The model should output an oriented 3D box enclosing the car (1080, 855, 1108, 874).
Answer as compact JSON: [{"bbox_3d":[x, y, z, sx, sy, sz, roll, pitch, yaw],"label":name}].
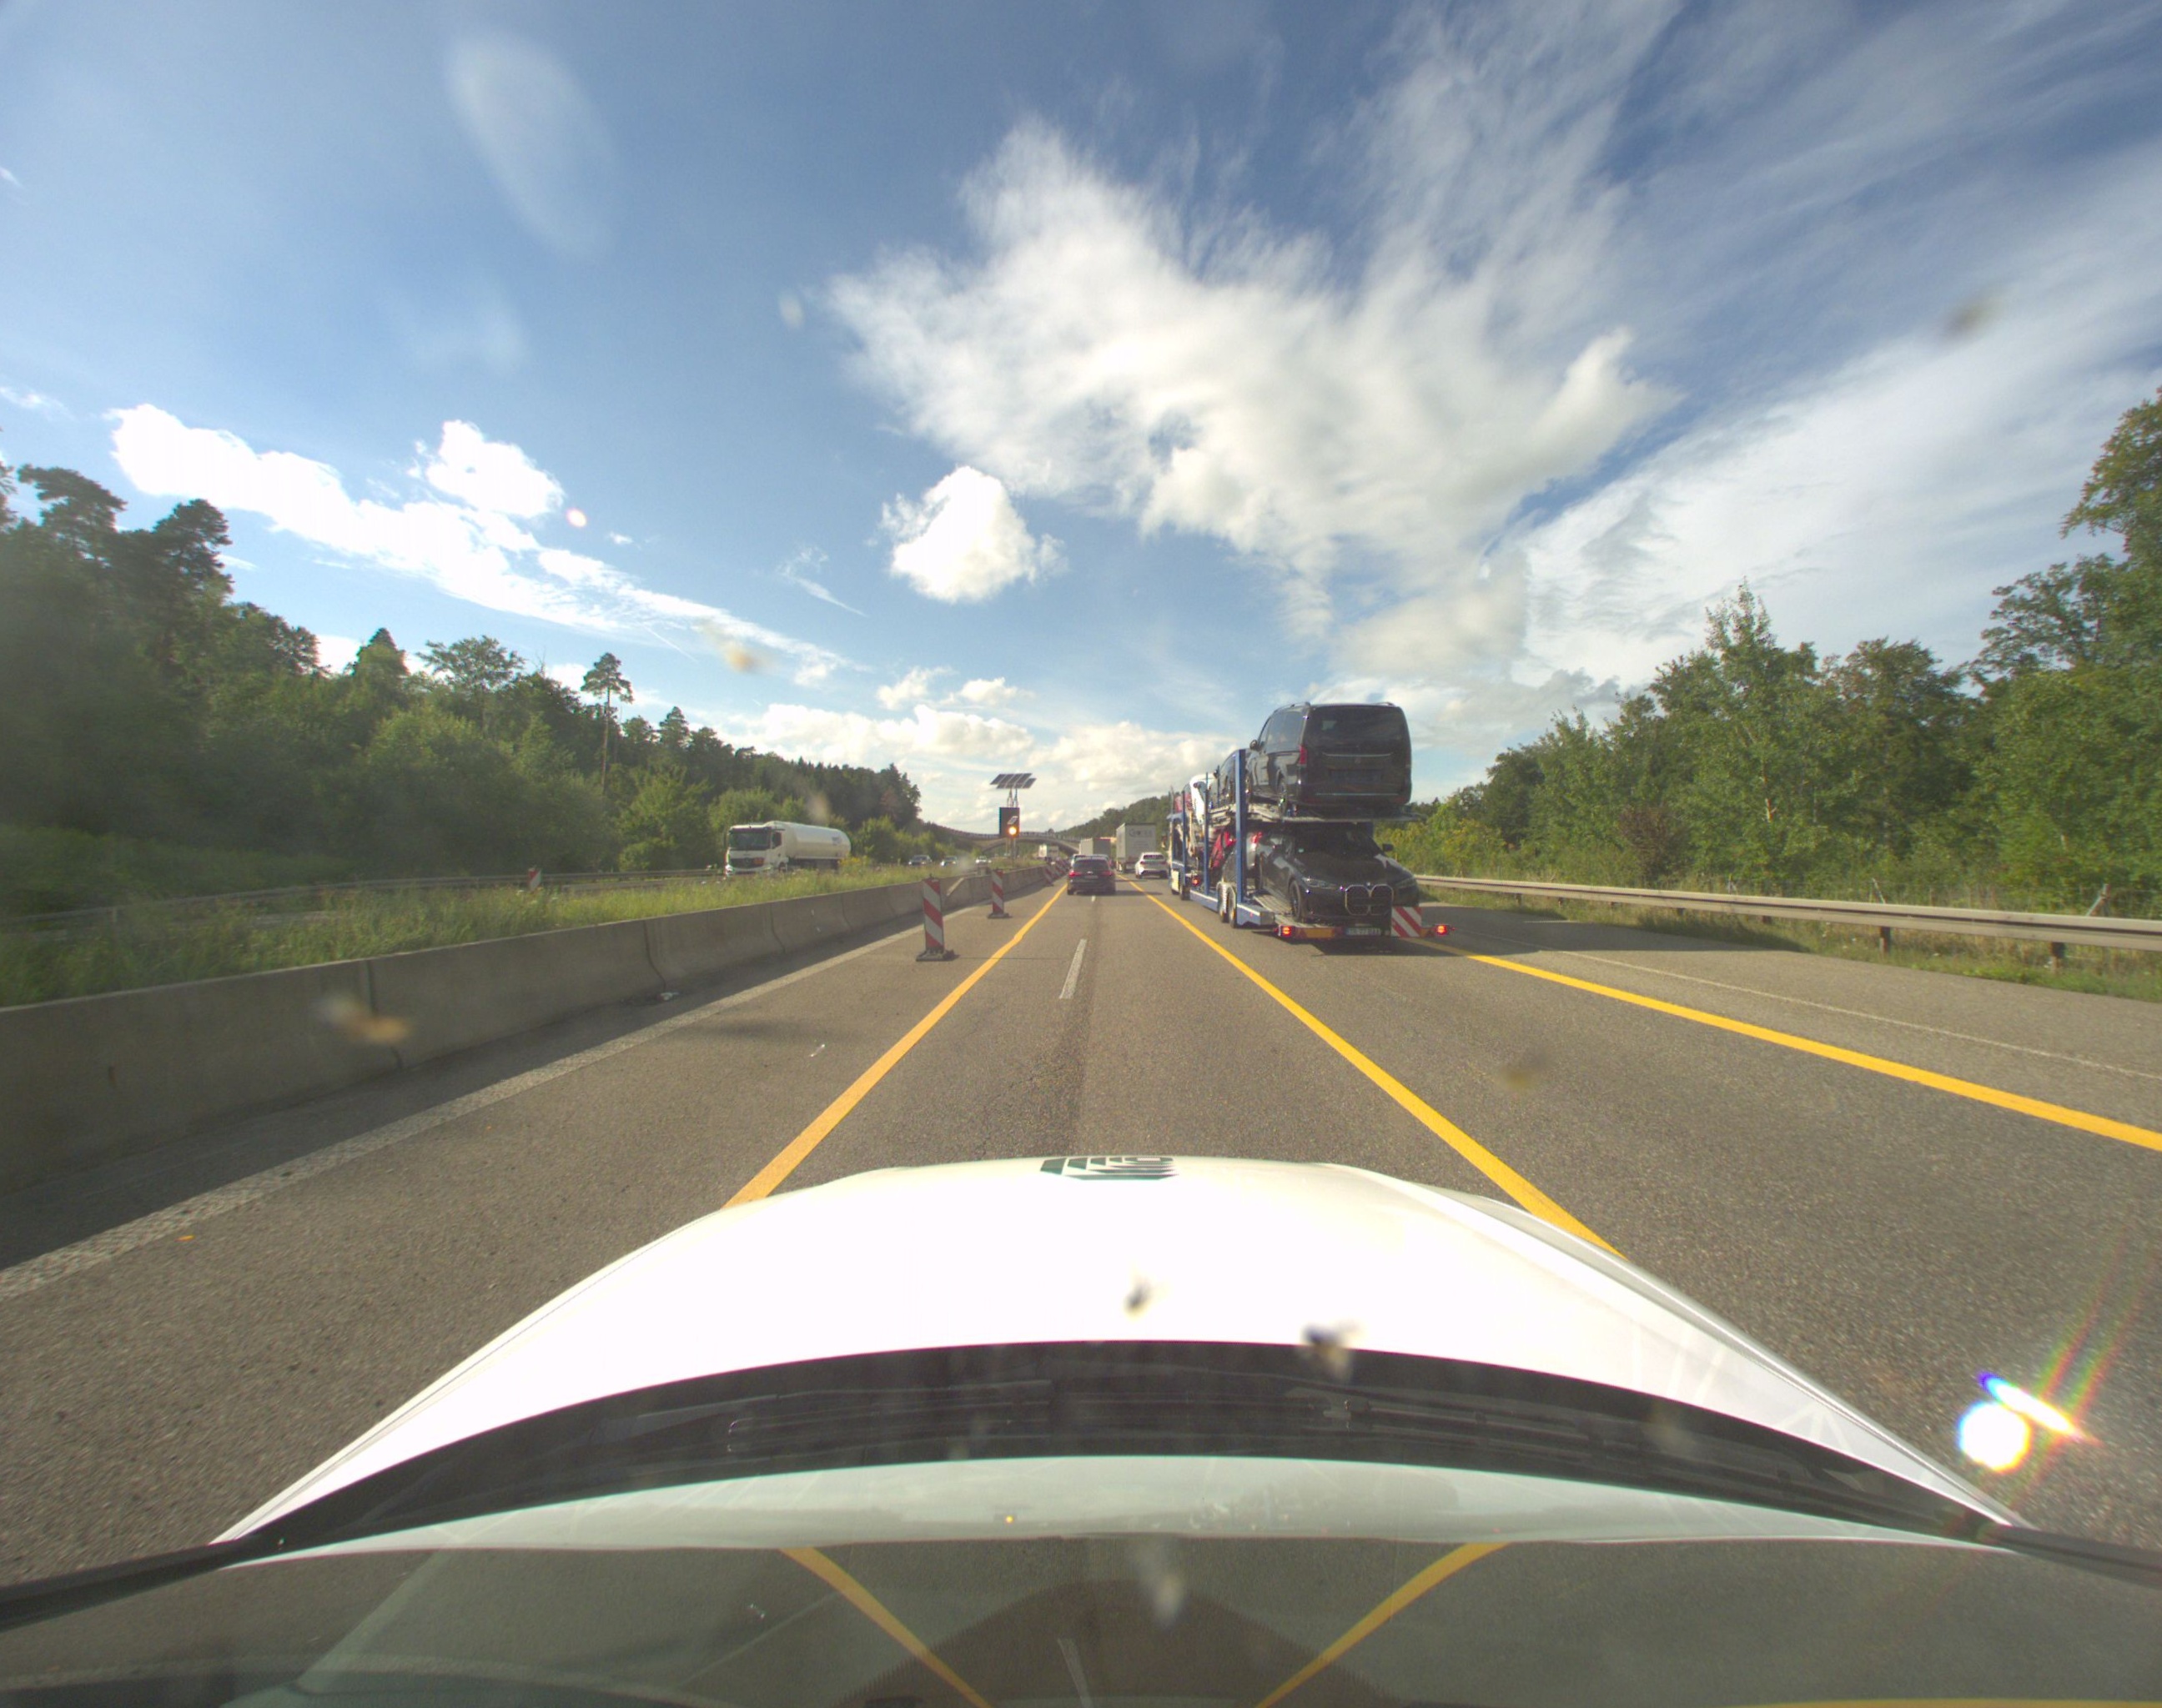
[{"bbox_3d":[1.014,0.812,65.718,1.886,1.446,3.994,0,0,-4],"label":"car"}]

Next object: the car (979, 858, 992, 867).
[{"bbox_3d":[-18.060,1.648,154.620,1.771,1.602,4.020,0,0,2],"label":"car"}]

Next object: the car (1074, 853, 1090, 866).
[{"bbox_3d":[0.091,0.739,104.504,1.886,1.643,4.013,0,0,-3],"label":"car"}]

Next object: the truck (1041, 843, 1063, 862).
[{"bbox_3d":[-6.175,-0.211,173.652,3.651,3.928,11.037,0,0,-8],"label":"truck"}]

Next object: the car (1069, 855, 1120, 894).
[{"bbox_3d":[0.590,0.769,31.940,1.883,1.446,4.002,0,0,2],"label":"car"}]

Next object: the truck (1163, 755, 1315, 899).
[{"bbox_3d":[5.013,-0.766,27.762,3.748,4.196,7.951,0,0,1],"label":"truck"}]

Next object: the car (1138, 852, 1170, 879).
[{"bbox_3d":[4.605,0.696,51.725,1.883,1.643,4.020,0,0,2],"label":"car"}]

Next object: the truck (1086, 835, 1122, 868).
[{"bbox_3d":[3.217,-0.336,118.198,4.311,4.600,11.109,0,0,-4],"label":"truck"}]

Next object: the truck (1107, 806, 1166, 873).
[{"bbox_3d":[4.645,-1.103,72.553,3.668,5.353,16.188,0,0,-2],"label":"truck"}]

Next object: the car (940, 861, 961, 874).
[{"bbox_3d":[-17.130,1.736,107.379,1.951,1.588,4.483,0,0,1],"label":"car"}]

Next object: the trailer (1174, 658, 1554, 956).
[{"bbox_3d":[4.924,-0.623,19.621,3.713,4.196,16.228,0,0,1],"label":"trailer"}]

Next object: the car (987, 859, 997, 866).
[{"bbox_3d":[-19.937,1.815,182.073,1.773,1.602,4.673,0,0,-2],"label":"car"}]

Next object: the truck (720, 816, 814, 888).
[{"bbox_3d":[-16.179,-0.092,42.308,2.774,3.490,4.942,0,0,2],"label":"truck"}]

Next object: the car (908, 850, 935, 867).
[{"bbox_3d":[-16.056,0.472,81.970,1.771,1.602,4.020,0,0,2],"label":"car"}]

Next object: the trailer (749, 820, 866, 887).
[{"bbox_3d":[-15.923,0.001,48.617,2.791,3.489,11.118,0,0,2],"label":"trailer"}]
